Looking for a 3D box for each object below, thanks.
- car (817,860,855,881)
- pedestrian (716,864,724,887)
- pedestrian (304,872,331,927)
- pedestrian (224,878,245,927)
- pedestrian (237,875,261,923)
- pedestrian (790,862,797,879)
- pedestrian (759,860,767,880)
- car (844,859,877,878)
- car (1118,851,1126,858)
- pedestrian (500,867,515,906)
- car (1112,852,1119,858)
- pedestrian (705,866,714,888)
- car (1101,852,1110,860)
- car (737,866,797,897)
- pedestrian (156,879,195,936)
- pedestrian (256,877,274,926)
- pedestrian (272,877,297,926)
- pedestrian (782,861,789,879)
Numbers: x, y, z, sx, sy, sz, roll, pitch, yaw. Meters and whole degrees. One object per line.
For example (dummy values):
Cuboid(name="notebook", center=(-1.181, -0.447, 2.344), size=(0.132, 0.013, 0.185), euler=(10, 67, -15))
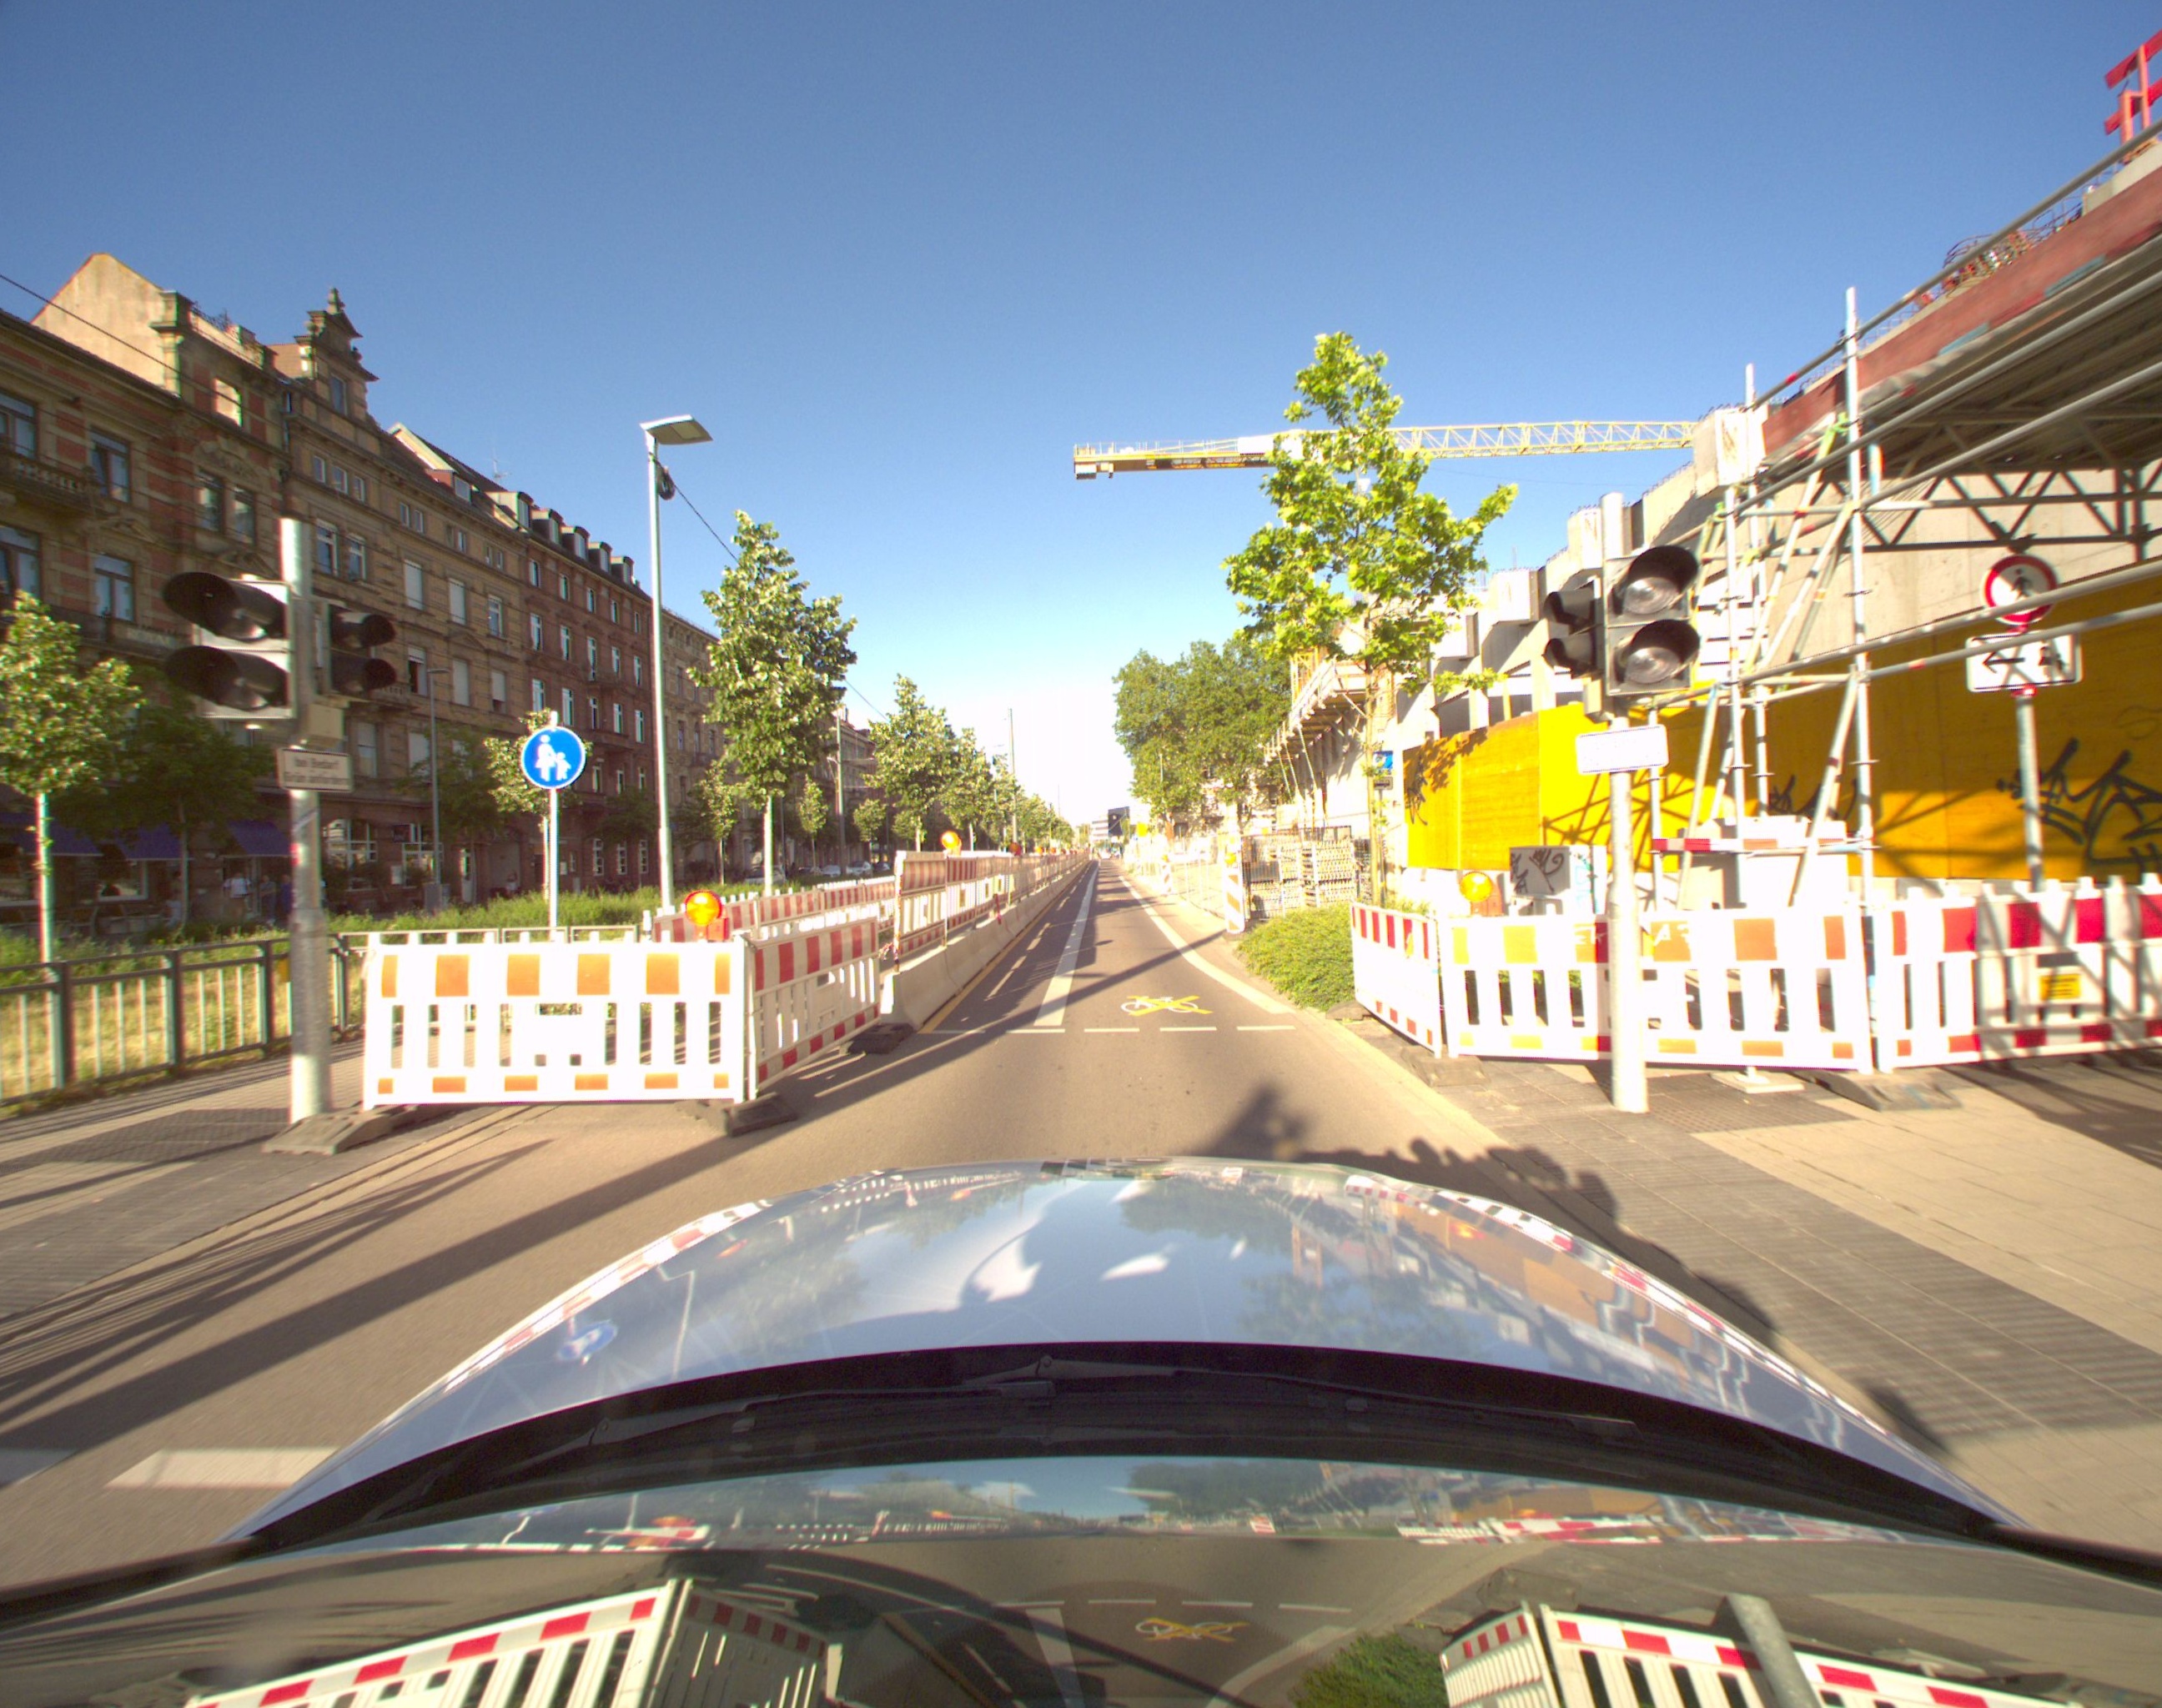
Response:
Cuboid(name="car", center=(-20.419, 1.366, 67.998), size=(1.560, 1.562, 4.716), euler=(-2, 0, 2))
Cuboid(name="pedestrian", center=(-25.611, 1.522, 57.766), size=(0.427, 1.585, 0.339), euler=(0, 0, 3))
Cuboid(name="pedestrian", center=(-25.151, 1.494, 26.821), size=(0.506, 1.764, 0.406), euler=(0, 0, 1))
Cuboid(name="pedestrian", center=(-27.718, 1.571, 26.657), size=(0.381, 1.585, 0.393), euler=(0, 0, 32))
Cuboid(name="pedestrian", center=(-27.601, 1.485, 27.025), size=(0.486, 1.585, 0.476), euler=(0, 0, -39))
Cuboid(name="pedestrian", center=(-24.705, 1.415, 69.947), size=(0.403, 1.532, 0.435), euler=(0, 0, 1))
Cuboid(name="pedestrian", center=(-26.178, 1.307, 66.996), size=(0.460, 1.585, 0.434), euler=(0, 0, -5))
Cuboid(name="car", center=(-20.136, 1.298, 74.547), size=(1.561, 1.562, 4.716), euler=(-2, 0, 1))
Cuboid(name="car", center=(10.675, 0.073, 213.817), size=(1.876, 1.842, 3.669), euler=(-2, 0, 1))
Cuboid(name="pedestrian", center=(-26.368, 1.502, 37.443), size=(0.365, 1.764, 0.406), euler=(0, 0, 1))
Cuboid(name="car", center=(10.715, 0.370, 252.573), size=(1.876, 1.842, 3.669), euler=(-2, 0, 1))
Cuboid(name="pedestrian", center=(-26.315, 1.632, 57.697), size=(0.432, 1.585, 0.385), euler=(0, 0, -1))
Cuboid(name="car", center=(5.756, 0.447, 191.165), size=(1.876, 1.842, 3.669), euler=(-2, 0, 1))
Cuboid(name="car", center=(-16.845, 1.466, 43.835), size=(1.588, 1.483, 3.626), euler=(-2, 0, 3))
Cuboid(name="pedestrian", center=(-25.624, 1.494, 23.052), size=(0.485, 1.585, 0.534), euler=(0, 0, 1))
Cuboid(name="pedestrian", center=(-27.246, 1.583, 27.209), size=(0.369, 1.585, 0.401), euler=(0, 0, -38))
Cuboid(name="pedestrian", center=(-26.259, 1.571, 26.849), size=(0.402, 1.585, 0.426), euler=(0, 0, 1))
Cuboid(name="pedestrian", center=(-25.482, 1.365, 70.228), size=(0.403, 1.534, 0.435), euler=(0, 0, 1))
